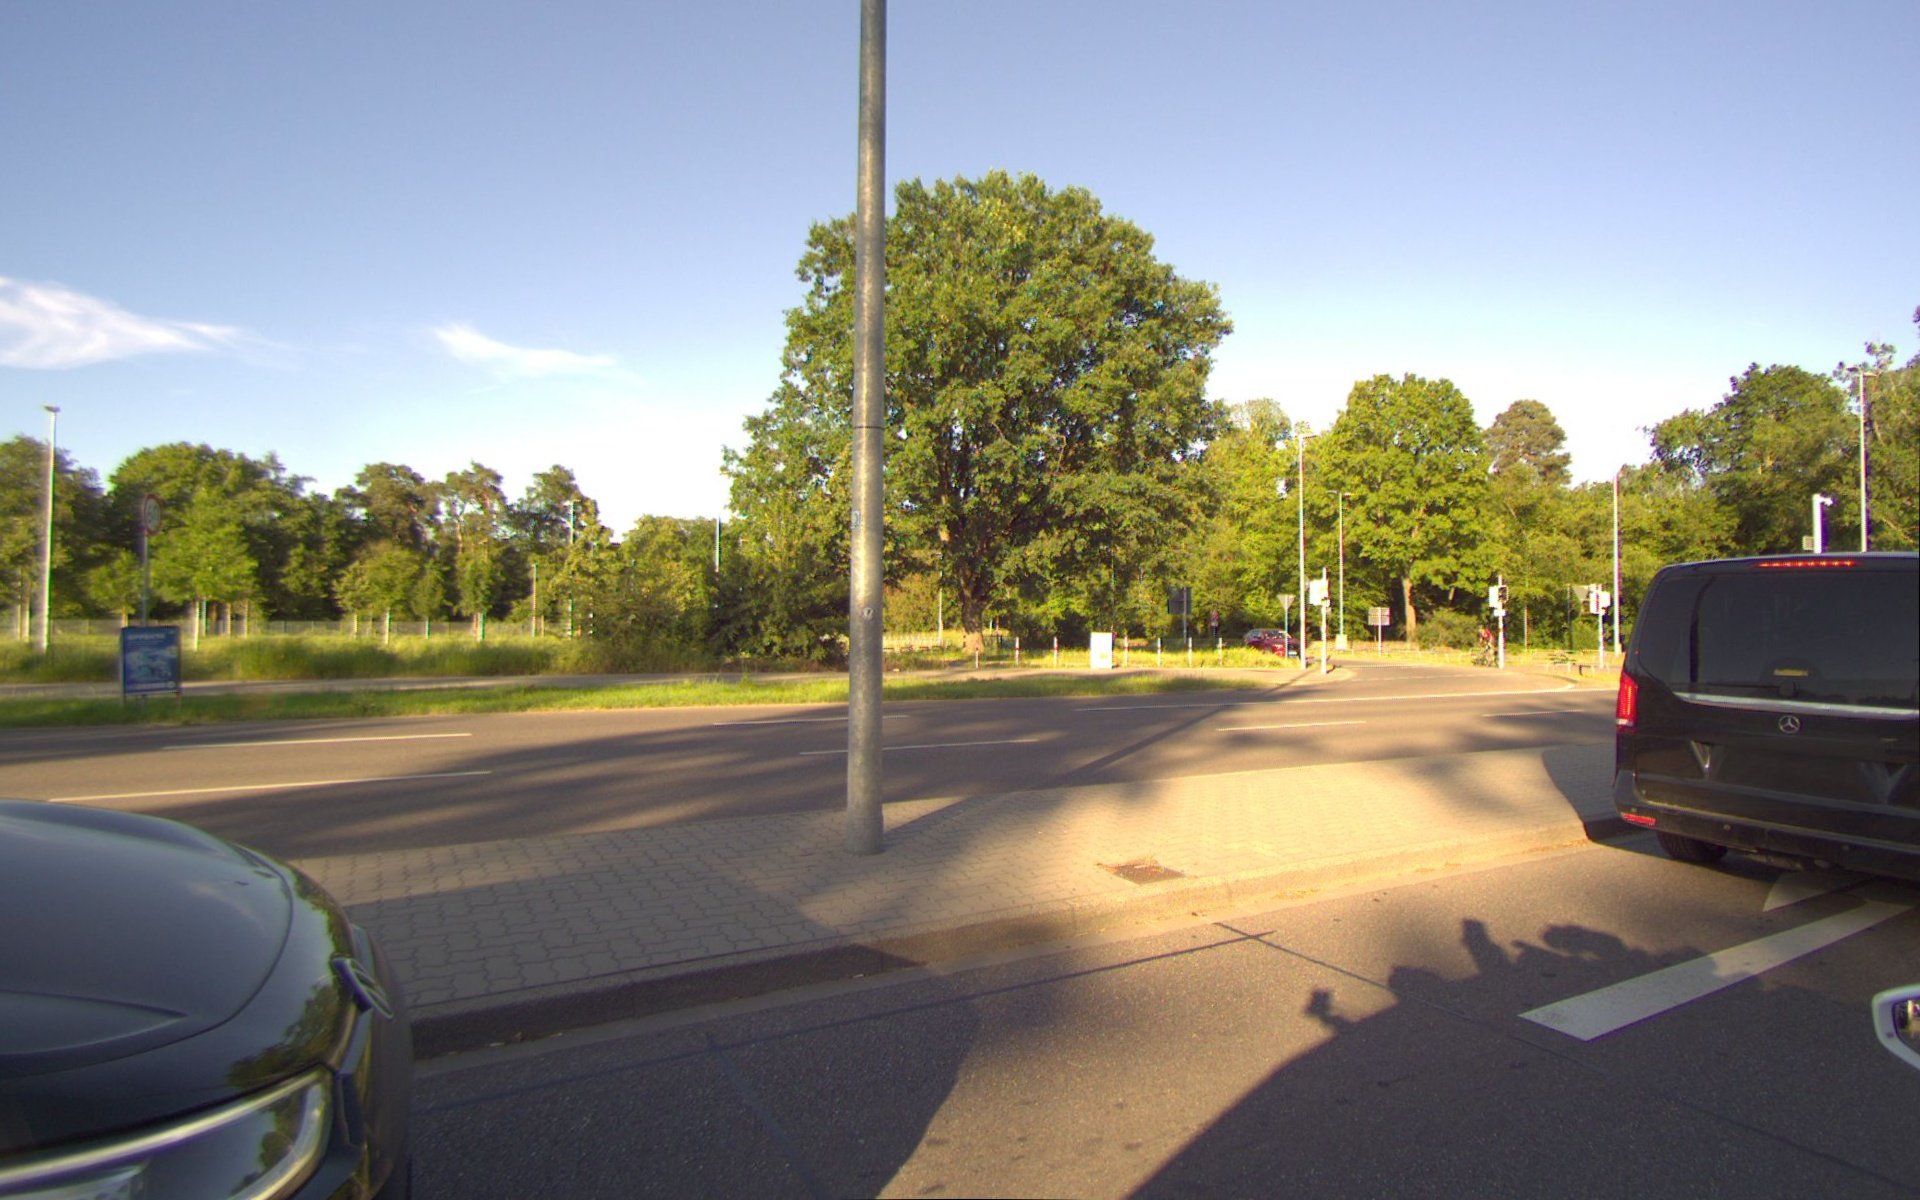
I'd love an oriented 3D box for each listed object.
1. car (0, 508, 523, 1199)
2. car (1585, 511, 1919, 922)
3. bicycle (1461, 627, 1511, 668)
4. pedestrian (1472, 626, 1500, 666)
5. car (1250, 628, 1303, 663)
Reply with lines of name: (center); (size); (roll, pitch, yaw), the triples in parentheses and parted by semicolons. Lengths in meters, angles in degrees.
car: (-2.690, 0.639, 0.946); (3.955, 1.557, 1.868); (2, 0, -31)
car: (6.209, 0.584, 6.285); (4.817, 1.881, 1.898); (2, 0, -31)
bicycle: (21.171, 1.918, 40.417); (1.996, 1.571, 0.748); (2, 0, -27)
pedestrian: (21.156, 1.858, 40.388); (0.664, 1.564, 0.737); (2, 0, -27)
car: (16.877, 2.389, 53.753); (1.959, 1.639, 4.002); (2, 0, 7)
